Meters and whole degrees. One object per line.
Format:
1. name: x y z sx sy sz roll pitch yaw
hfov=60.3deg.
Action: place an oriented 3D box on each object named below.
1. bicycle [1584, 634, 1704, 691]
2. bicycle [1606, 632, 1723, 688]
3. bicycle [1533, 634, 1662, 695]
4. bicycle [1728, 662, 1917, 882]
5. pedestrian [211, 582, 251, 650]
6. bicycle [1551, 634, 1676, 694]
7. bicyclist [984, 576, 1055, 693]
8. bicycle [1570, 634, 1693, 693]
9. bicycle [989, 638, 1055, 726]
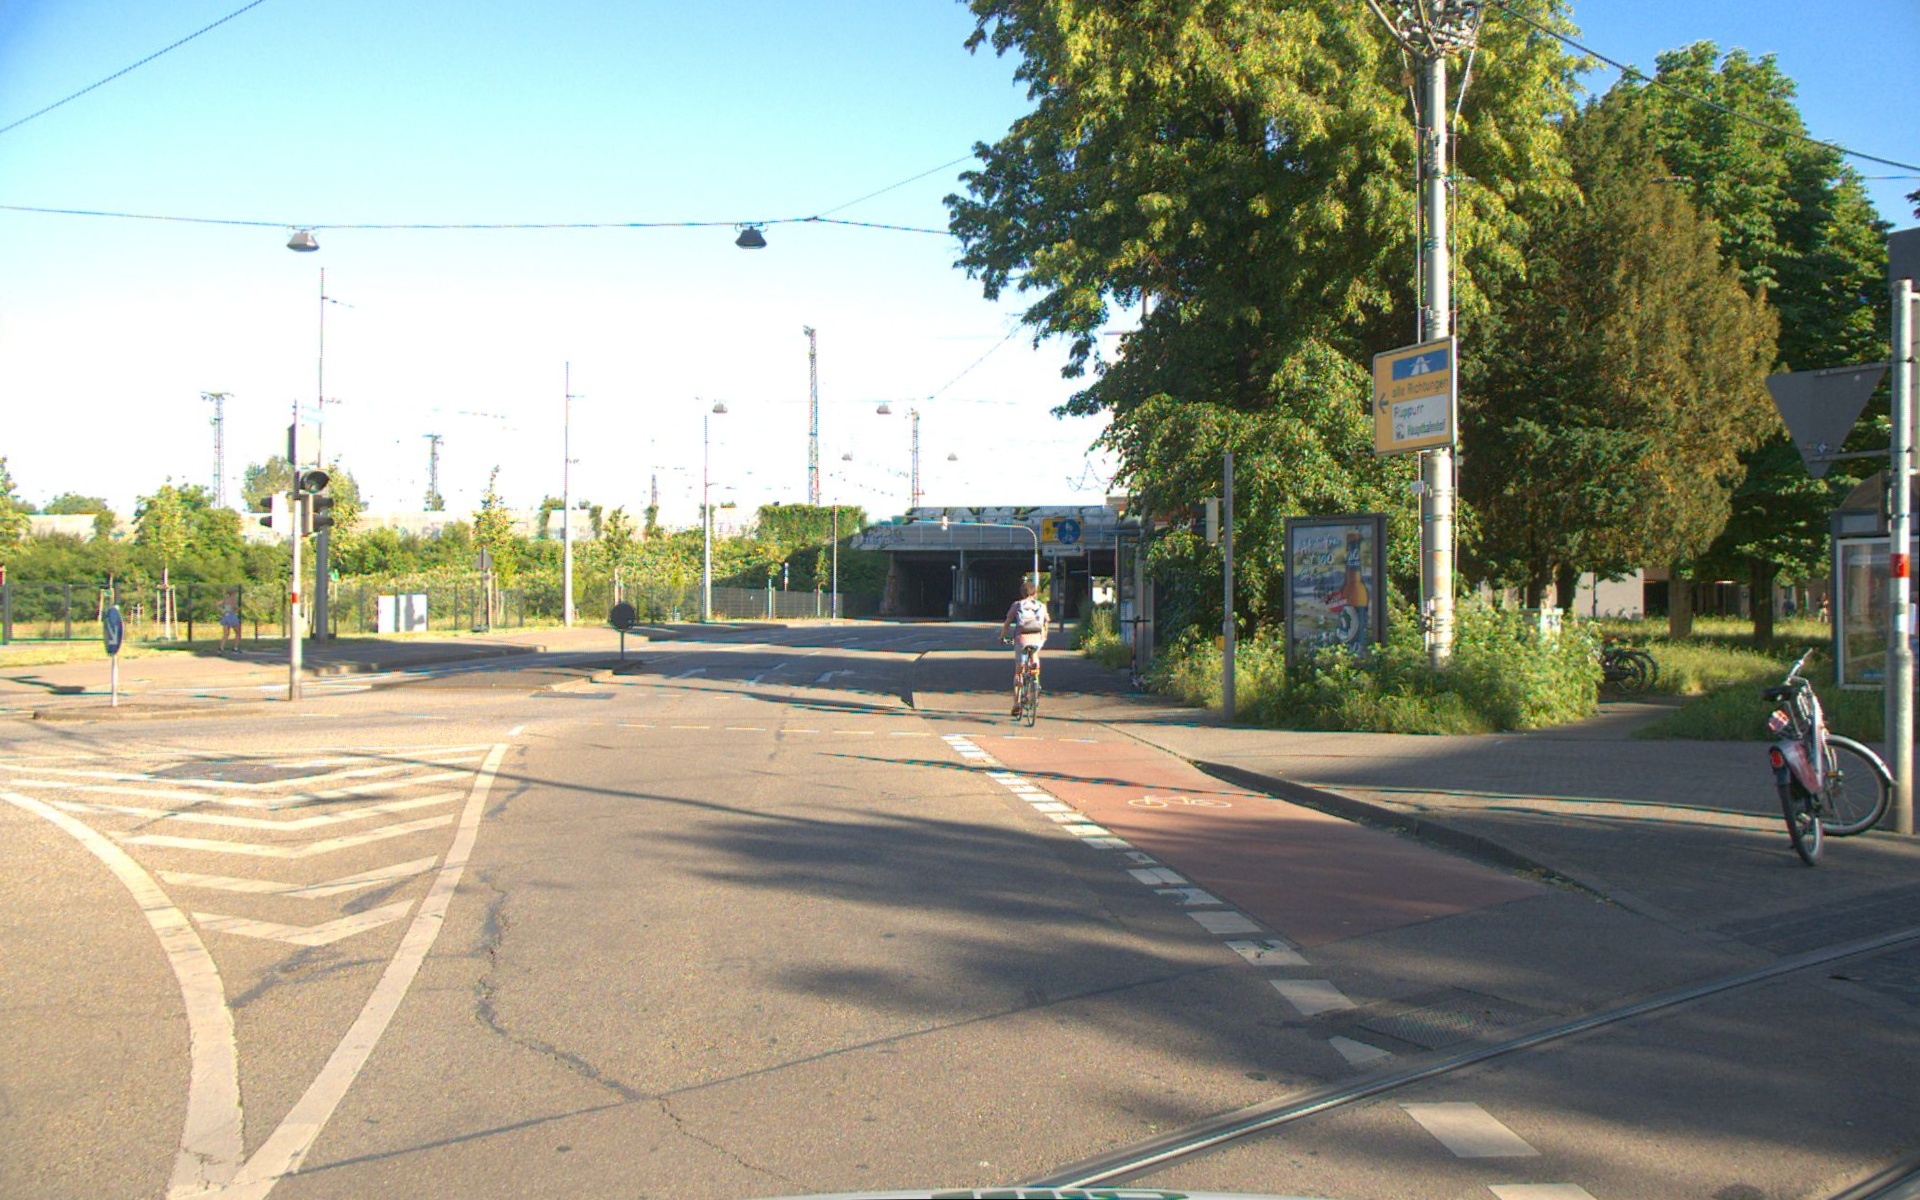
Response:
1. bicycle: 11.993 1.084 29.023 1.847 0.922 0.656 0 0 39
2. bicycle: 12.624 1.063 29.669 1.847 0.922 0.656 0 0 39
3. bicycle: 10.296 1.028 26.758 1.847 0.922 0.656 0 0 39
4. bicycle: 5.117 0.947 9.748 0.810 1.078 1.877 0 0 33
5. pedestrian: -17.708 0.389 40.199 0.586 1.624 0.685 1 0 6
6. bicycle: 10.876 1.057 27.554 1.847 0.922 0.656 0 0 39
7. bicyclist: 0.794 0.454 22.400 0.823 1.536 1.367 0 0 -4
8. bicycle: 11.441 1.071 28.225 1.847 0.922 0.656 0 0 39
9. bicycle: 0.819 1.084 22.458 0.654 1.078 2.080 0 0 -5
